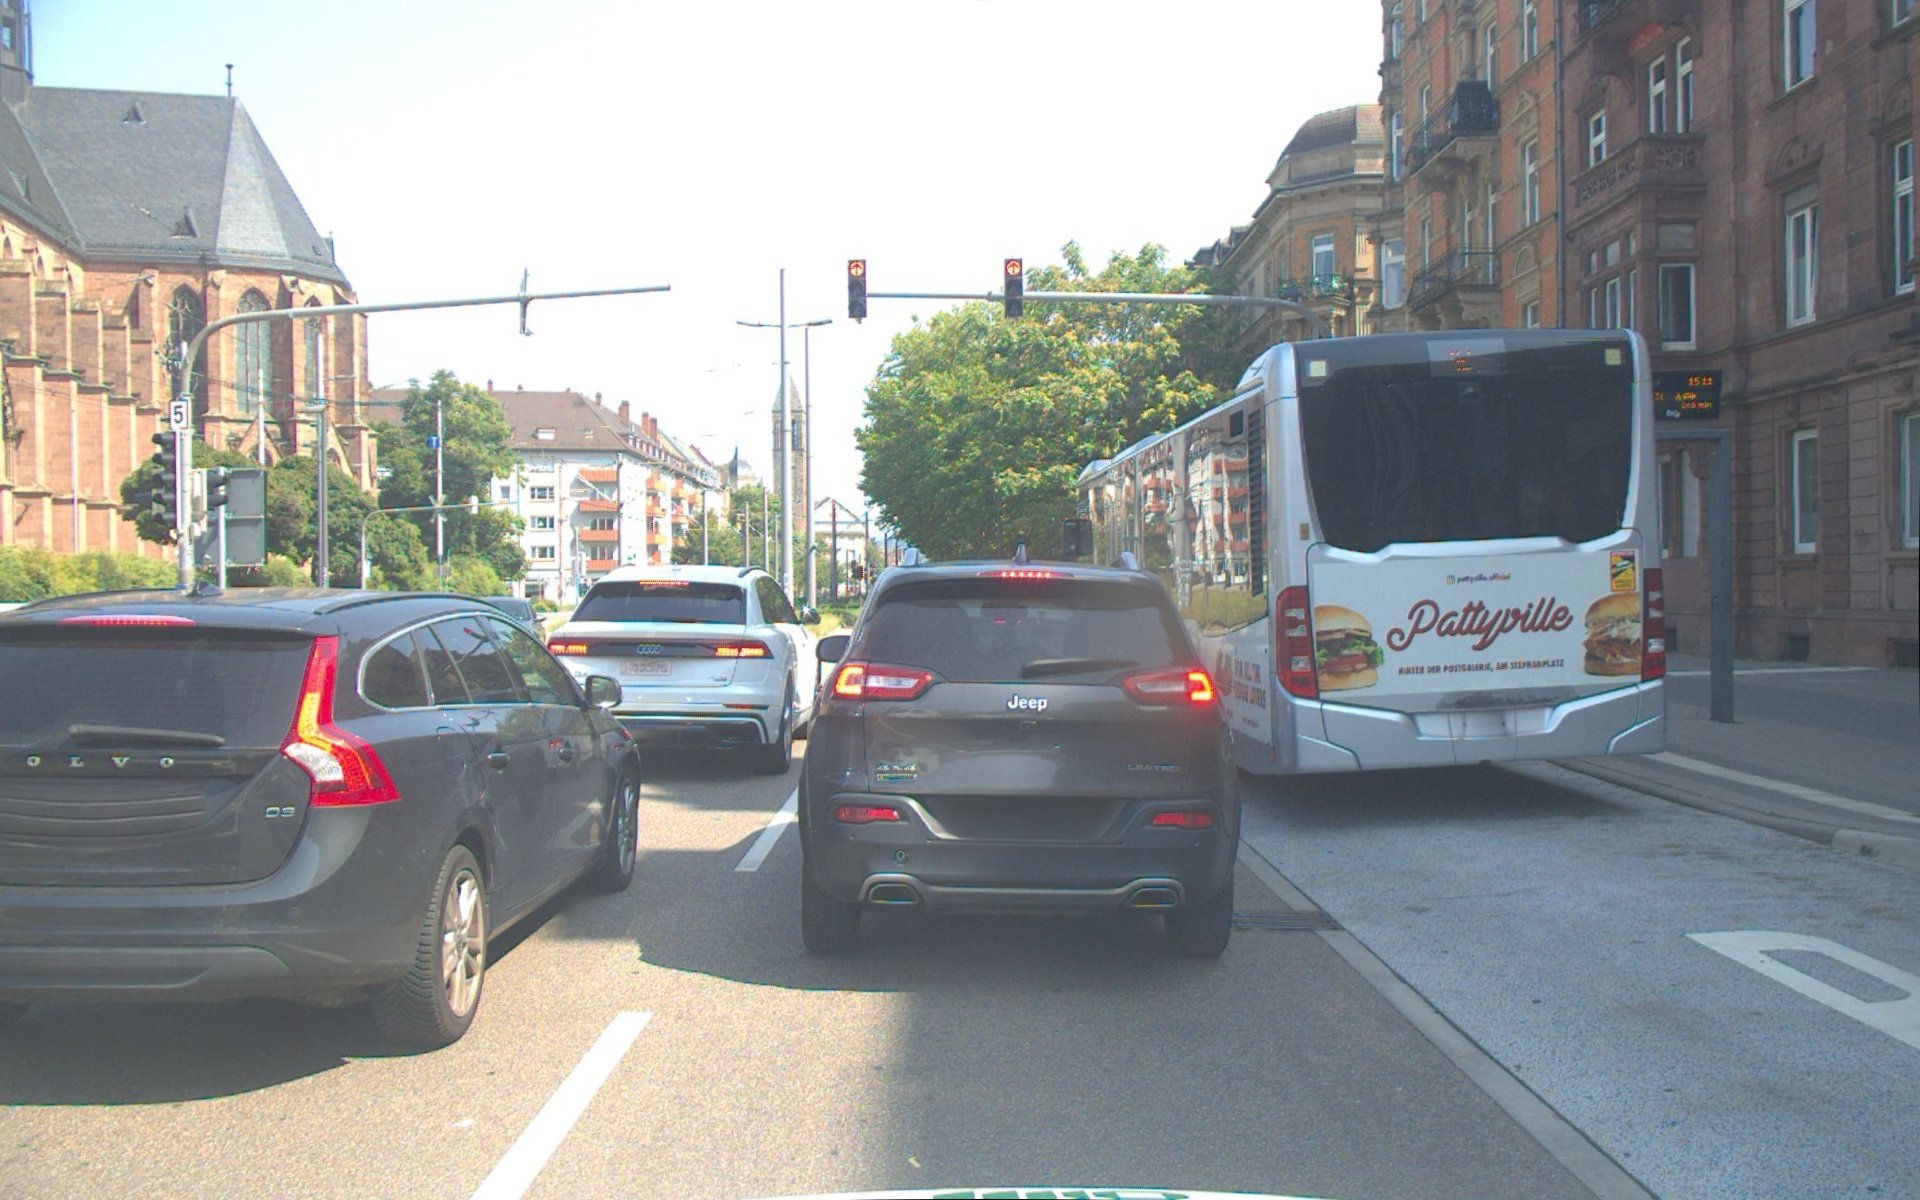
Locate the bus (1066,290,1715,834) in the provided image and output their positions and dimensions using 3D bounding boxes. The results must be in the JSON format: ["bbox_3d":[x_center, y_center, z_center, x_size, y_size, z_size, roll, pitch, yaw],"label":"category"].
[{"bbox_3d":[3.007,-0.249,16.032,2.688,3.161,11.951,-3,0,-2],"label":"bus"}]

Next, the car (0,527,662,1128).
[{"bbox_3d":[-2.436,0.608,6.685,1.712,1.642,4.308,1,0,-1],"label":"car"}]

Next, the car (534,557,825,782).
[{"bbox_3d":[-2.269,0.499,14.521,1.863,1.680,4.308,0,1,-1],"label":"car"}]

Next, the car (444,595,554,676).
[{"bbox_3d":[-9.359,0.669,33.882,1.715,1.460,4.561,-2,1,-10],"label":"car"}]

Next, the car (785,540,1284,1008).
[{"bbox_3d":[0.284,0.614,8.162,1.795,1.680,4.308,1,0,0],"label":"car"}]
